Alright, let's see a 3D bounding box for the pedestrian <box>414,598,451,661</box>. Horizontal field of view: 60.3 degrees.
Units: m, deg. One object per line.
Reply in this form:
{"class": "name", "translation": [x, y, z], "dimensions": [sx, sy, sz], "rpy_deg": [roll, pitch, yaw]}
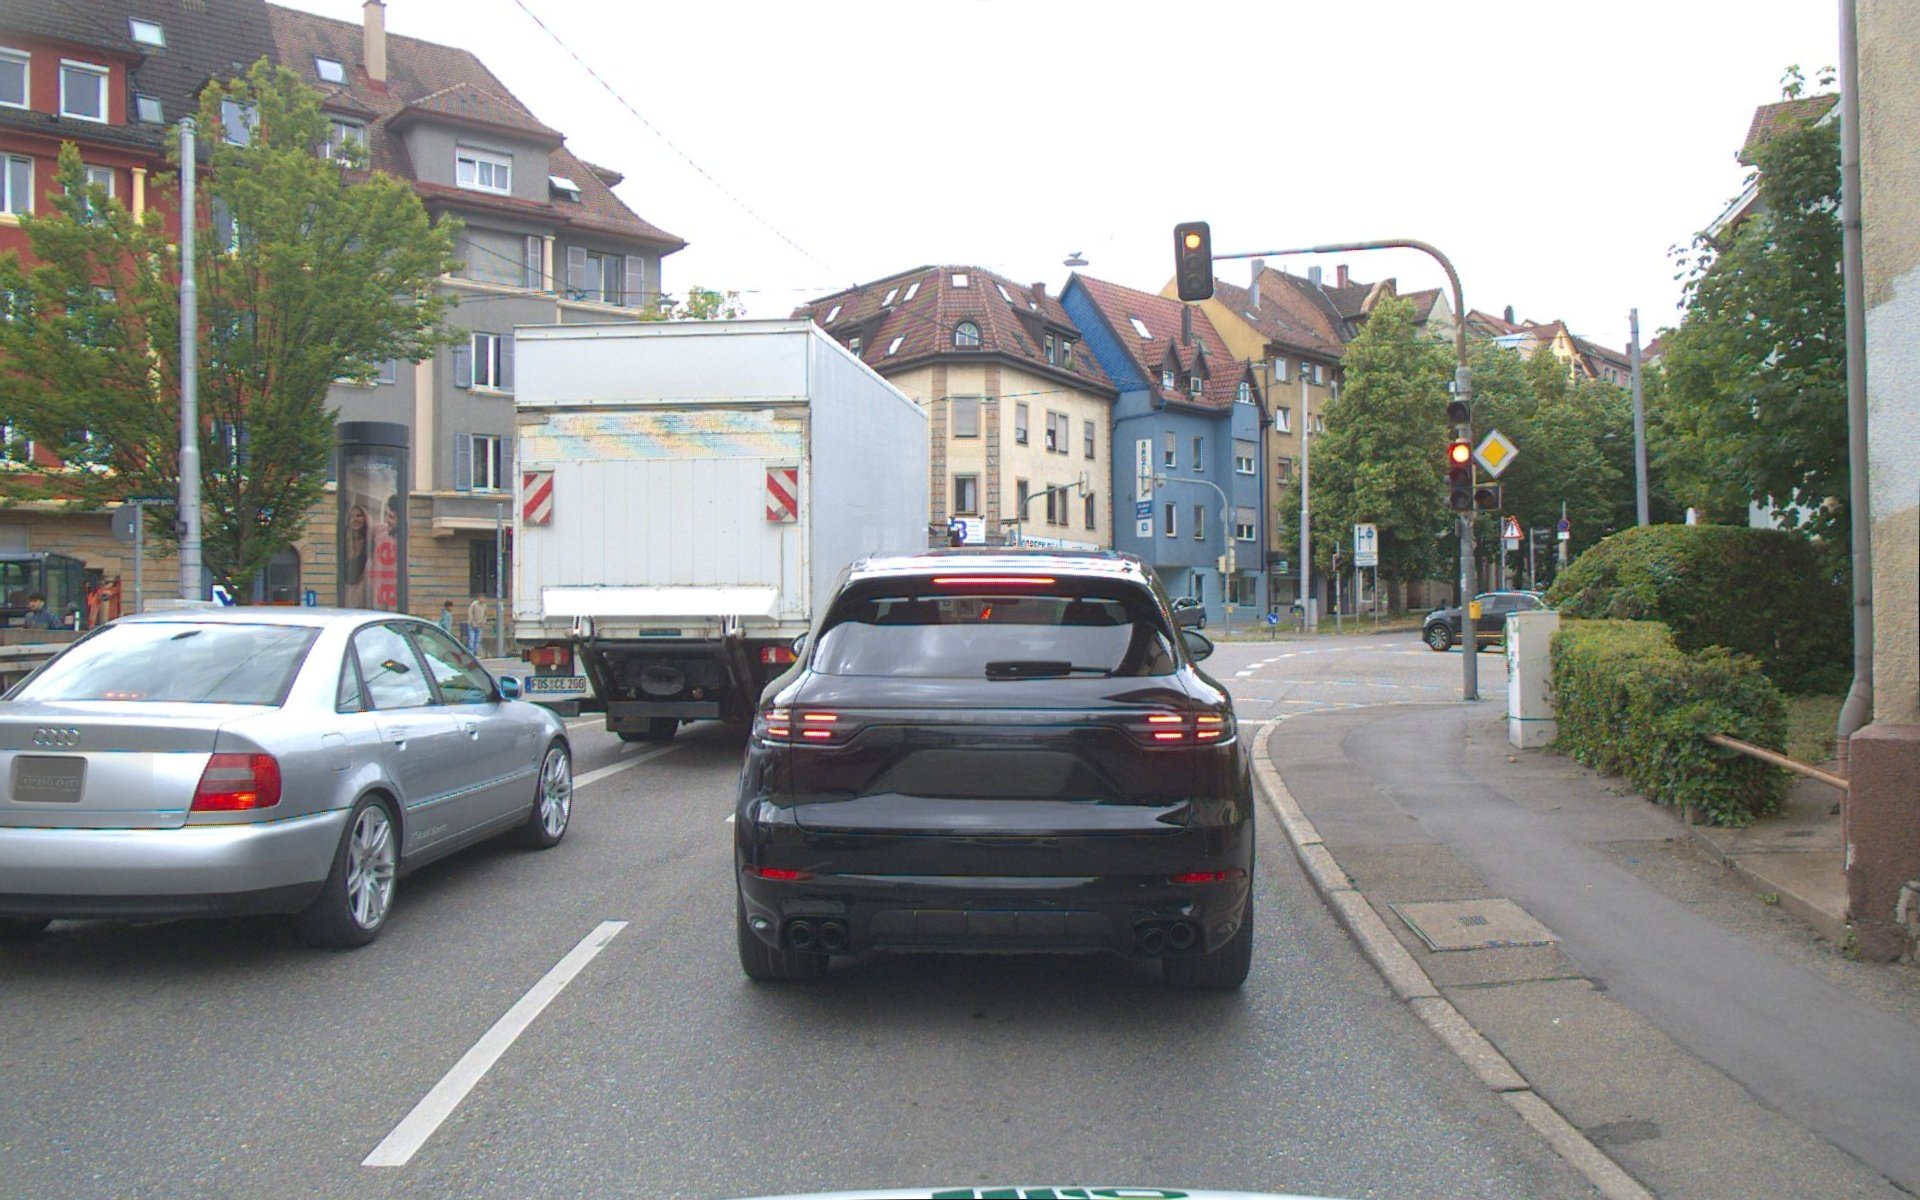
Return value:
{"class": "pedestrian", "translation": [-11.687, 0.651, 36.641], "dimensions": [0.566, 1.361, 0.581], "rpy_deg": [-1, 0, 42]}

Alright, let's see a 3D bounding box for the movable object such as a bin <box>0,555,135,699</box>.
{"class": "movable object such as a bin", "translation": [-13.951, 0.383, 25.482], "dimensions": [1.351, 2.049, 3.525], "rpy_deg": [-1, 0, -12]}

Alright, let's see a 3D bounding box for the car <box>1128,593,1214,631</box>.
{"class": "car", "translation": [9.115, 0.547, 71.264], "dimensions": [1.690, 1.502, 4.197], "rpy_deg": [0, -2, 39]}

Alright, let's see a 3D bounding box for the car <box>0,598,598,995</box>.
{"class": "car", "translation": [-3.116, 0.709, 7.988], "dimensions": [1.594, 1.389, 4.130], "rpy_deg": [-1, 0, 3]}

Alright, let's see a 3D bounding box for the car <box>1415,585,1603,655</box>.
{"class": "car", "translation": [13.434, 0.458, 40.642], "dimensions": [1.979, 1.556, 3.946], "rpy_deg": [1, 1, -38]}

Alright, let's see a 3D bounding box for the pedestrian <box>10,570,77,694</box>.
{"class": "pedestrian", "translation": [-12.547, 0.426, 22.670], "dimensions": [0.678, 1.665, 0.774], "rpy_deg": [-1, 0, -21]}

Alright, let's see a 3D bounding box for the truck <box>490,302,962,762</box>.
{"class": "truck", "translation": [-1.878, -0.541, 17.311], "dimensions": [2.667, 3.606, 8.428], "rpy_deg": [-1, 0, 8]}

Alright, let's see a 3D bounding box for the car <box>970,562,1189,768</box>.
{"class": "car", "translation": [1.176, 0.517, 14.798], "dimensions": [1.613, 1.583, 3.586], "rpy_deg": [1, 0, 9]}

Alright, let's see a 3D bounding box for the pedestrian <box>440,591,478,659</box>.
{"class": "pedestrian", "translation": [-11.249, 0.555, 37.126], "dimensions": [0.648, 1.513, 0.515], "rpy_deg": [-1, 0, -43]}

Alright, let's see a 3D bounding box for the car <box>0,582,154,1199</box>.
{"class": "car", "translation": [-2.714, 0.717, 1.179], "dimensions": [1.953, 1.454, 4.841], "rpy_deg": [-1, 0, -1]}

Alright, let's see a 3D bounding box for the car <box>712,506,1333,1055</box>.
{"class": "car", "translation": [0.175, 0.593, 7.614], "dimensions": [1.990, 1.753, 4.499], "rpy_deg": [1, 0, -1]}
